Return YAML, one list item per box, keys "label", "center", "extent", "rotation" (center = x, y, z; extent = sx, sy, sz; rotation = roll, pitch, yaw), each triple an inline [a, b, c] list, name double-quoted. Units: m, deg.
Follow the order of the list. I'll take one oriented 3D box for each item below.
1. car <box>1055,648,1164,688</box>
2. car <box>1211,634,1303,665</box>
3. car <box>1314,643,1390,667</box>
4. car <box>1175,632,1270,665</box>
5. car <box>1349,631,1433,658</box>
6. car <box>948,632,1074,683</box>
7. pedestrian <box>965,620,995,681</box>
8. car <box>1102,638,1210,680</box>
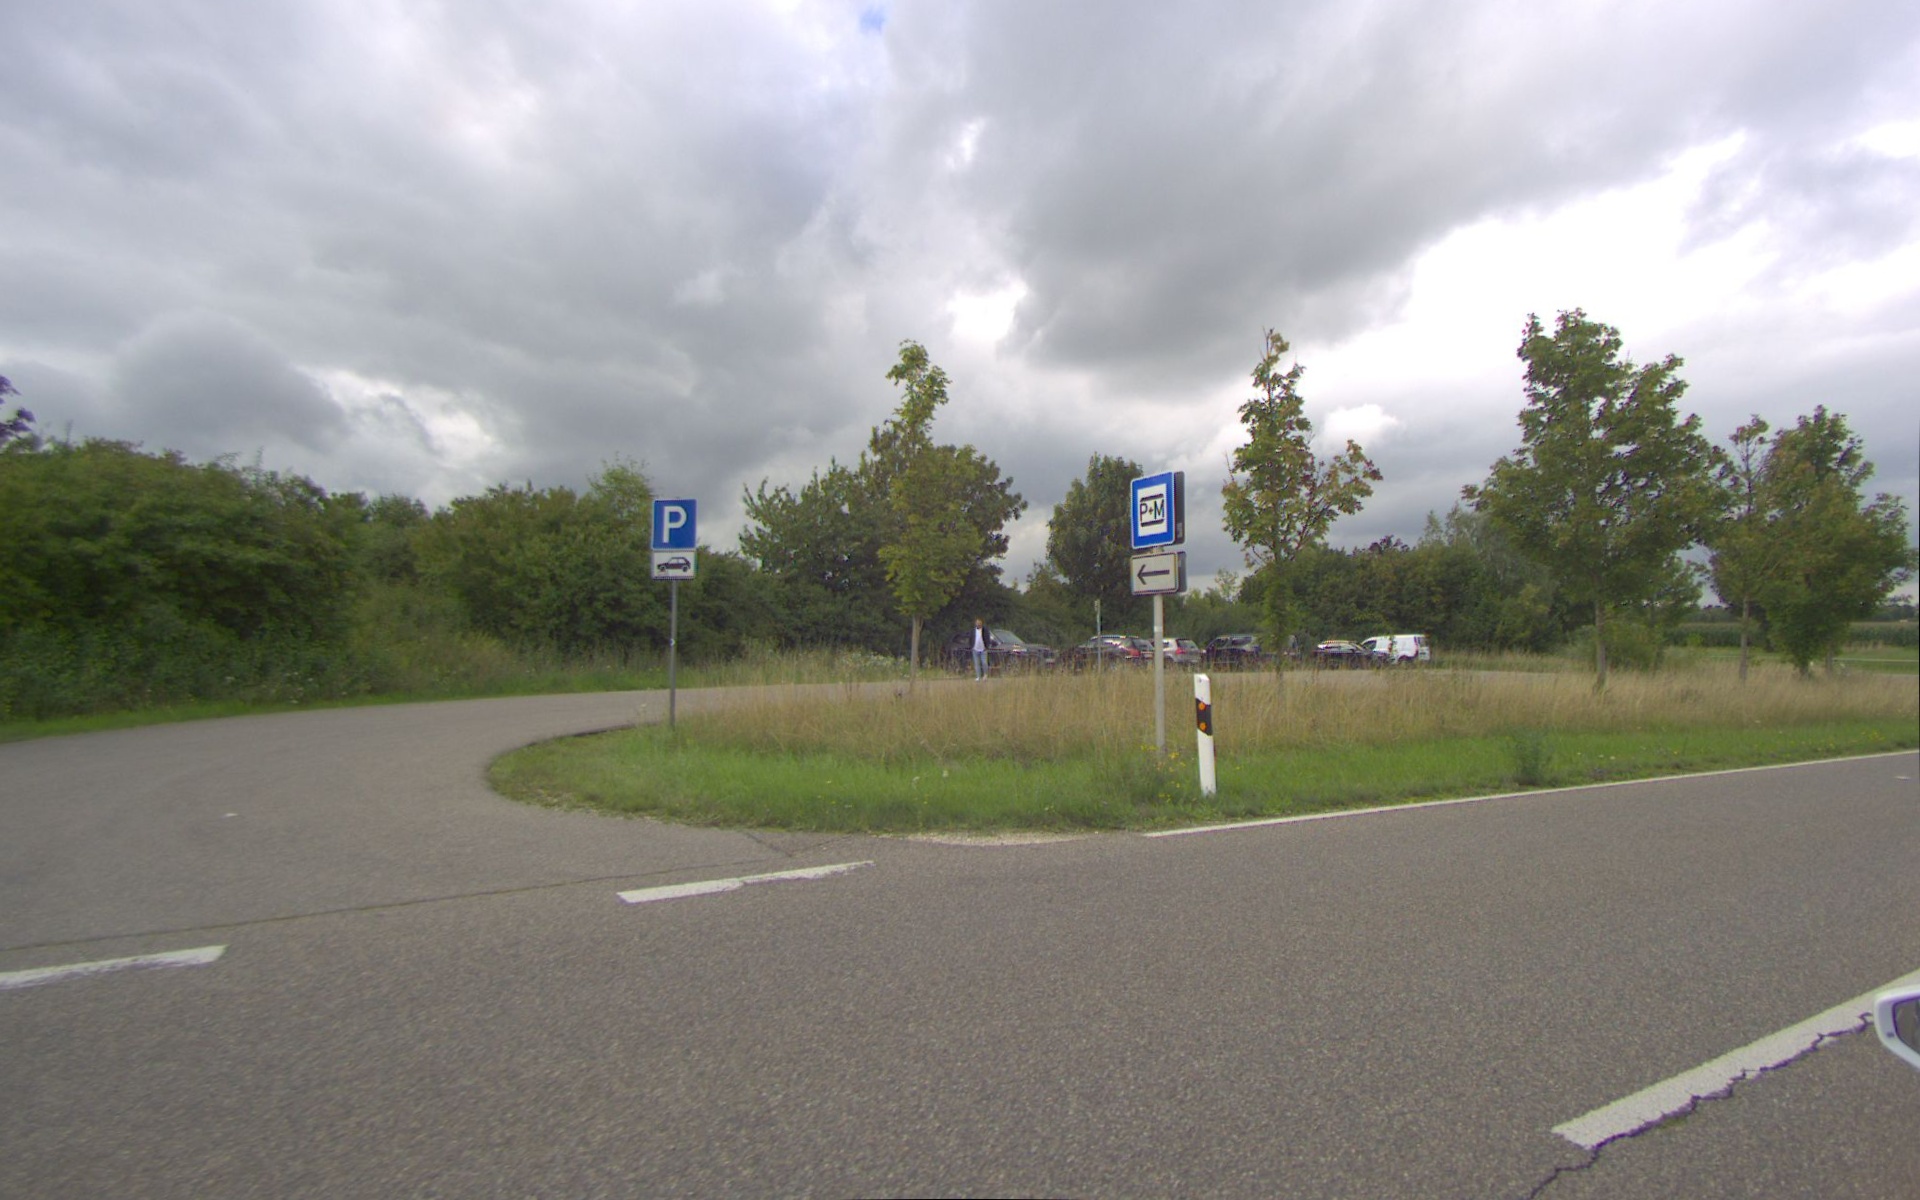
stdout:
- label: "car"
  center: [5.736, 2.587, 38.865]
  extent: [1.811, 1.398, 3.951]
  rotation: [2, -2, -42]
- label: "car"
  center: [14.040, 2.310, 47.643]
  extent: [3.936, 1.398, 1.470]
  rotation: [-1, -2, 37]
- label: "car"
  center: [20.621, 2.869, 52.919]
  extent: [1.323, 1.182, 3.574]
  rotation: [1, -2, -42]
- label: "car"
  center: [11.844, 2.177, 45.403]
  extent: [3.935, 1.398, 1.471]
  rotation: [-1, -2, 36]
- label: "car"
  center: [23.344, 2.402, 54.526]
  extent: [3.942, 1.398, 1.468]
  rotation: [-1, -2, 42]
- label: "car"
  center: [1.691, 1.894, 34.055]
  extent: [4.197, 1.586, 1.747]
  rotation: [-1, -2, 45]
- label: "pedestrian"
  center: [0.565, 1.419, 28.395]
  extent: [0.655, 1.689, 0.511]
  rotation: [1, -2, -40]
- label: "car"
  center: [8.046, 2.396, 41.548]
  extent: [1.744, 1.586, 4.203]
  rotation: [1, -2, -41]
